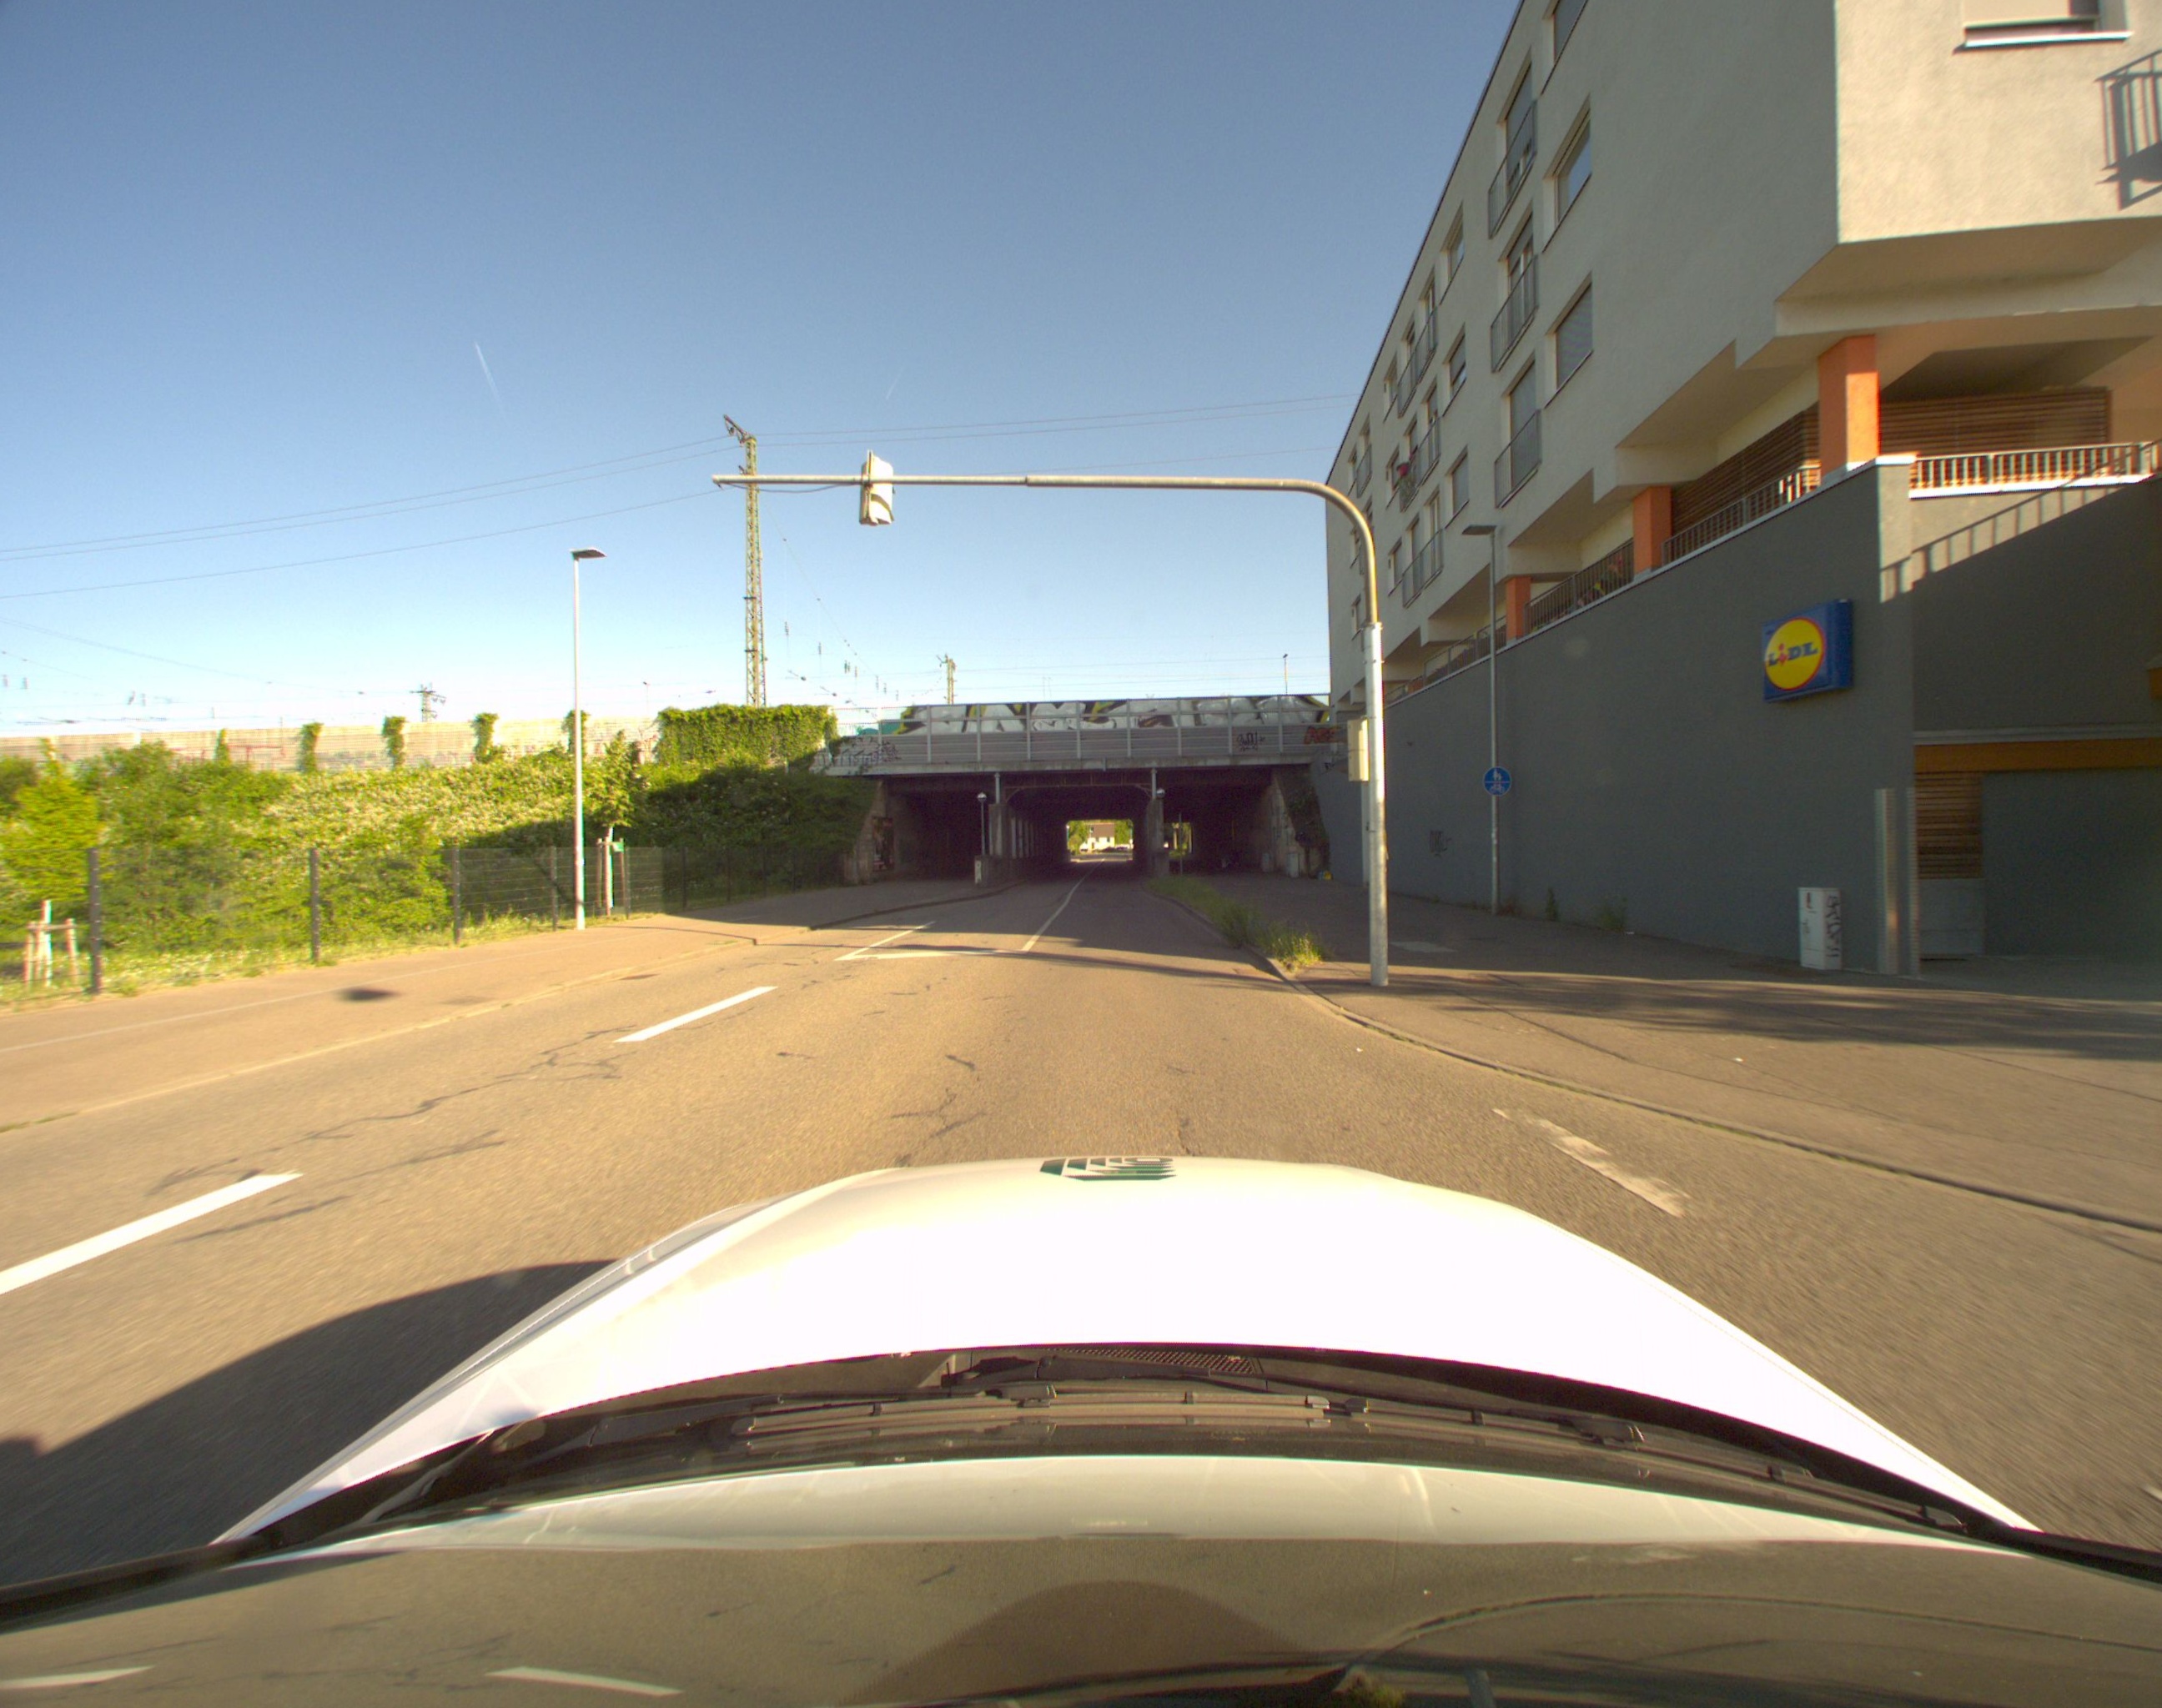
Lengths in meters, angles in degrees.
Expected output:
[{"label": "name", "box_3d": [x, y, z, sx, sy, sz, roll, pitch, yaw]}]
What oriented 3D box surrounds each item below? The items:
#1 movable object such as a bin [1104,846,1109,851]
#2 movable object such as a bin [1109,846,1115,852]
[{"label": "movable object such as a bin", "box_3d": [6.698, -1.386, 212.655, 1.362, 1.418, 1.064, 1, -1, -5]}, {"label": "movable object such as a bin", "box_3d": [8.097, -1.369, 212.807, 1.362, 1.418, 1.064, 1, -1, -5]}]
